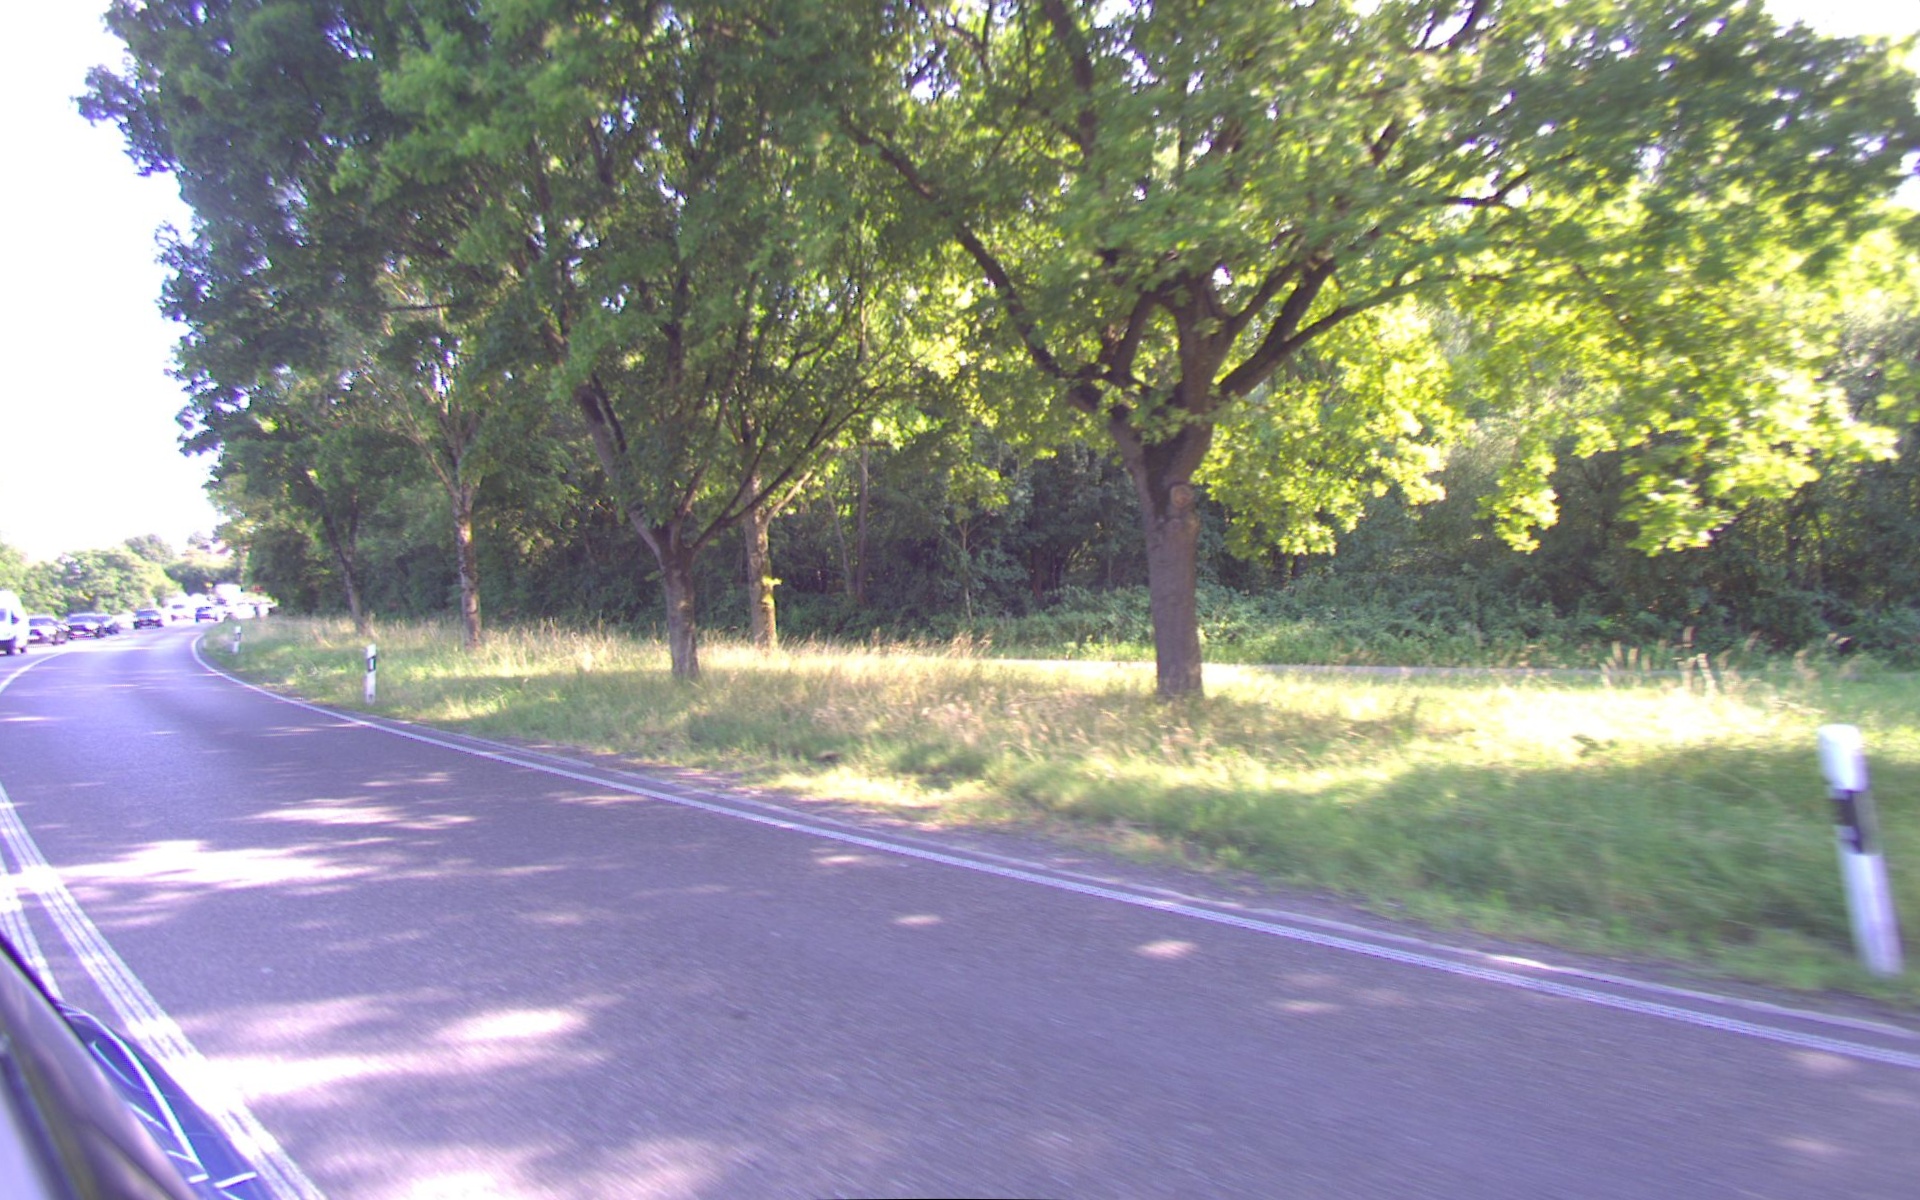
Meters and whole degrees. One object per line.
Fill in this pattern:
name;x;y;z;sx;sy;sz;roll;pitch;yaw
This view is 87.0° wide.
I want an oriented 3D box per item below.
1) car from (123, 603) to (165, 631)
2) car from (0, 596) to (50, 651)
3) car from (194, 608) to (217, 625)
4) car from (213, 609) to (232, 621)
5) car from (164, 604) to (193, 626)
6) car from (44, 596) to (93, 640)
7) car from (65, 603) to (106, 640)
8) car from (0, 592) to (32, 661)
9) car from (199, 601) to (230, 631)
car;-72.168;1.462;89.551;2.054;2.435;5.158;-1;0;-30
car;-44.240;1.065;47.604;2.058;2.435;5.149;-1;0;-41
car;-76.948;1.660;103.248;1.871;1.644;4.261;-1;0;-36
car;-104.584;2.156;143.568;1.864;1.644;4.263;-1;0;-33
car;-93.549;1.766;121.125;2.054;2.435;5.158;-1;0;-30
car;-52.302;1.039;59.426;2.058;2.435;5.149;-1;0;-41
car;-60.771;1.481;70.309;2.058;2.435;5.149;-1;0;-41
car;-35.826;0.961;37.084;2.055;2.435;5.154;-1;0;-36
car;-62.837;1.291;85.285;2.056;2.435;5.154;-1;0;-36
